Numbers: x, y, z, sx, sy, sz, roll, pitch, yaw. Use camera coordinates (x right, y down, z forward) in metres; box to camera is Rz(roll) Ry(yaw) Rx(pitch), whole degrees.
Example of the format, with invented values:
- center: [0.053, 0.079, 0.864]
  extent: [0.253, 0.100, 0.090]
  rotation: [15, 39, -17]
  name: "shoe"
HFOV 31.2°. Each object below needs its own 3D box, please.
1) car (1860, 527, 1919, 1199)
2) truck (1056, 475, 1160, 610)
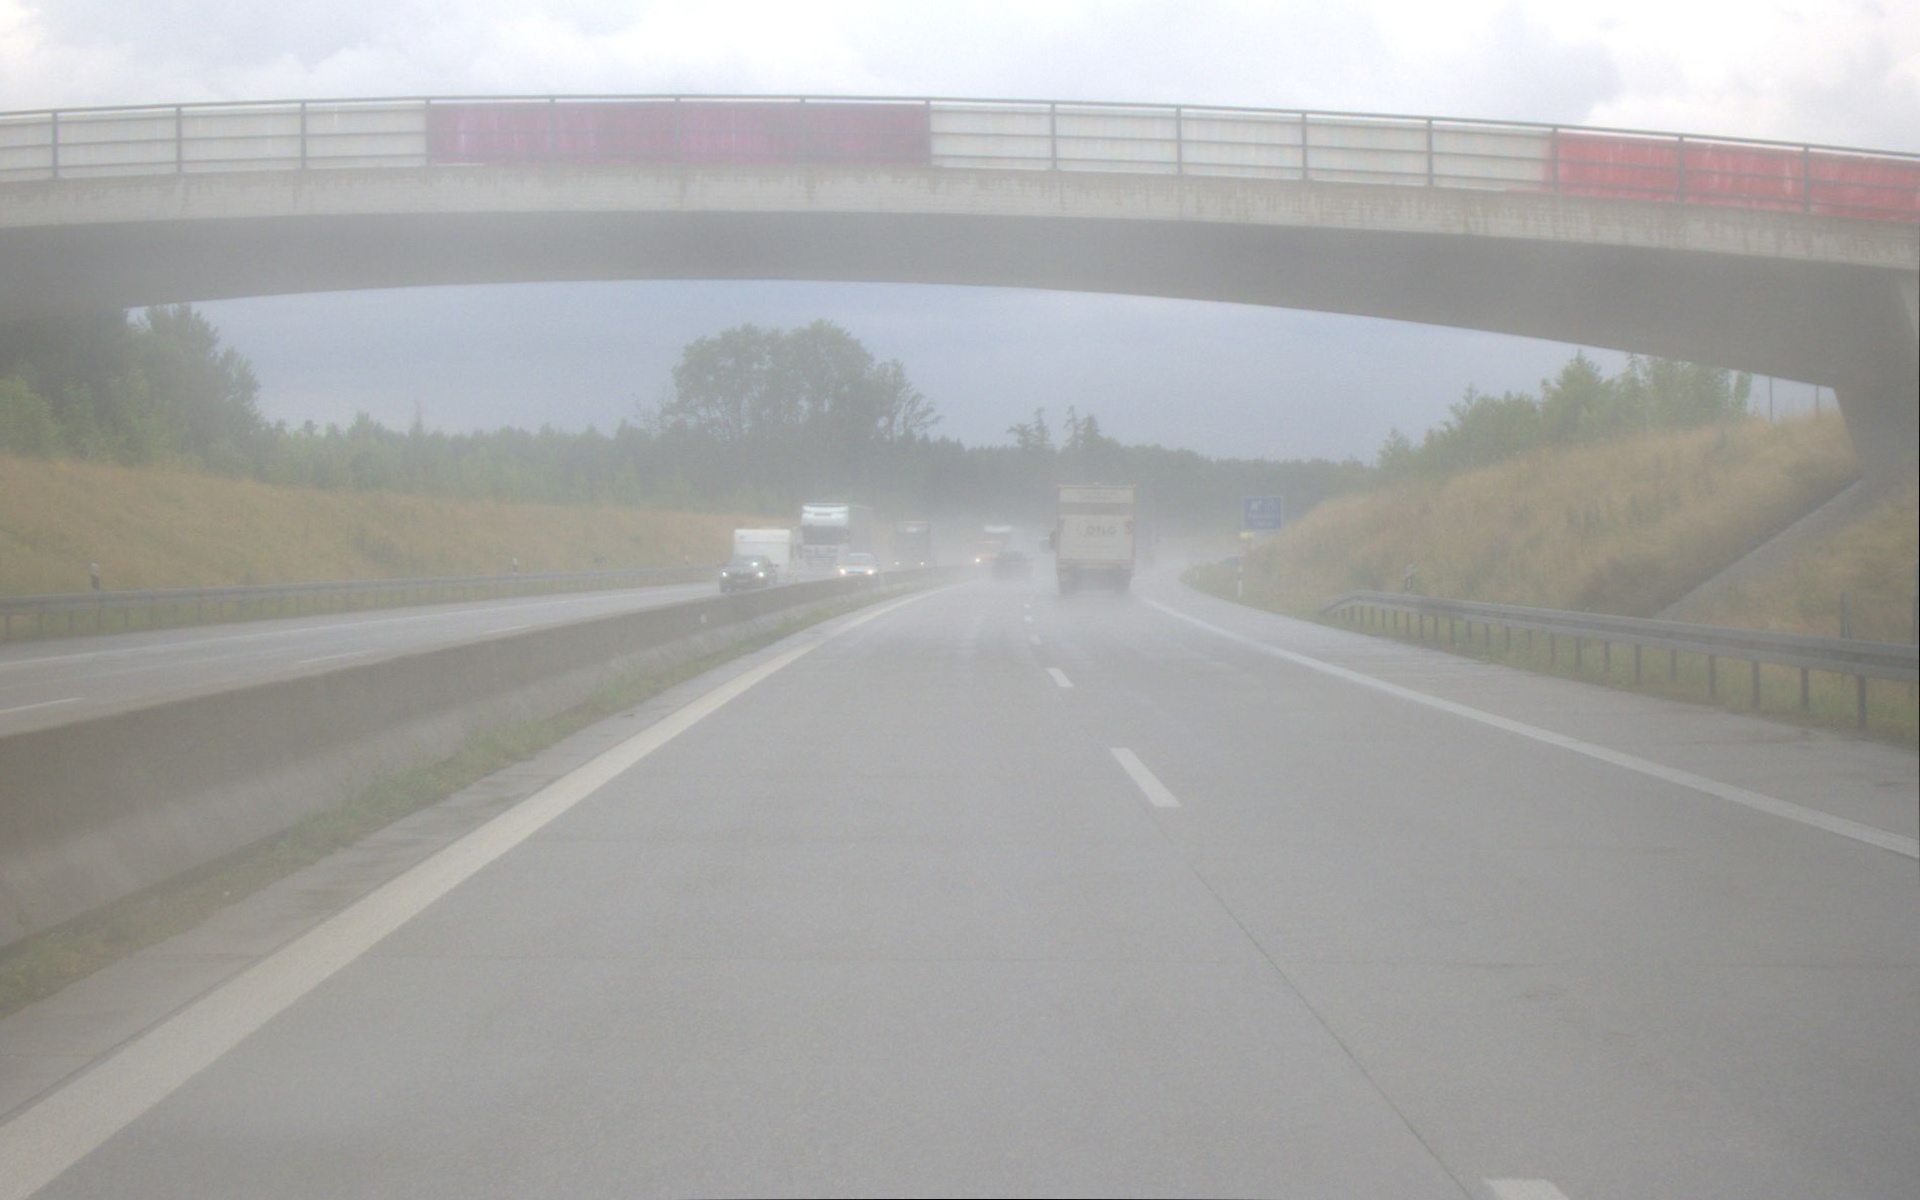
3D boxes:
- center: [3.055, 0.668, 6.137]
  extent: [1.894, 1.570, 3.632]
  rotation: [1, 1, 0]
  name: "car"
- center: [5.074, -1.995, 116.349]
  extent: [3.244, 4.421, 8.245]
  rotation: [0, 2, 4]
  name: "truck"
